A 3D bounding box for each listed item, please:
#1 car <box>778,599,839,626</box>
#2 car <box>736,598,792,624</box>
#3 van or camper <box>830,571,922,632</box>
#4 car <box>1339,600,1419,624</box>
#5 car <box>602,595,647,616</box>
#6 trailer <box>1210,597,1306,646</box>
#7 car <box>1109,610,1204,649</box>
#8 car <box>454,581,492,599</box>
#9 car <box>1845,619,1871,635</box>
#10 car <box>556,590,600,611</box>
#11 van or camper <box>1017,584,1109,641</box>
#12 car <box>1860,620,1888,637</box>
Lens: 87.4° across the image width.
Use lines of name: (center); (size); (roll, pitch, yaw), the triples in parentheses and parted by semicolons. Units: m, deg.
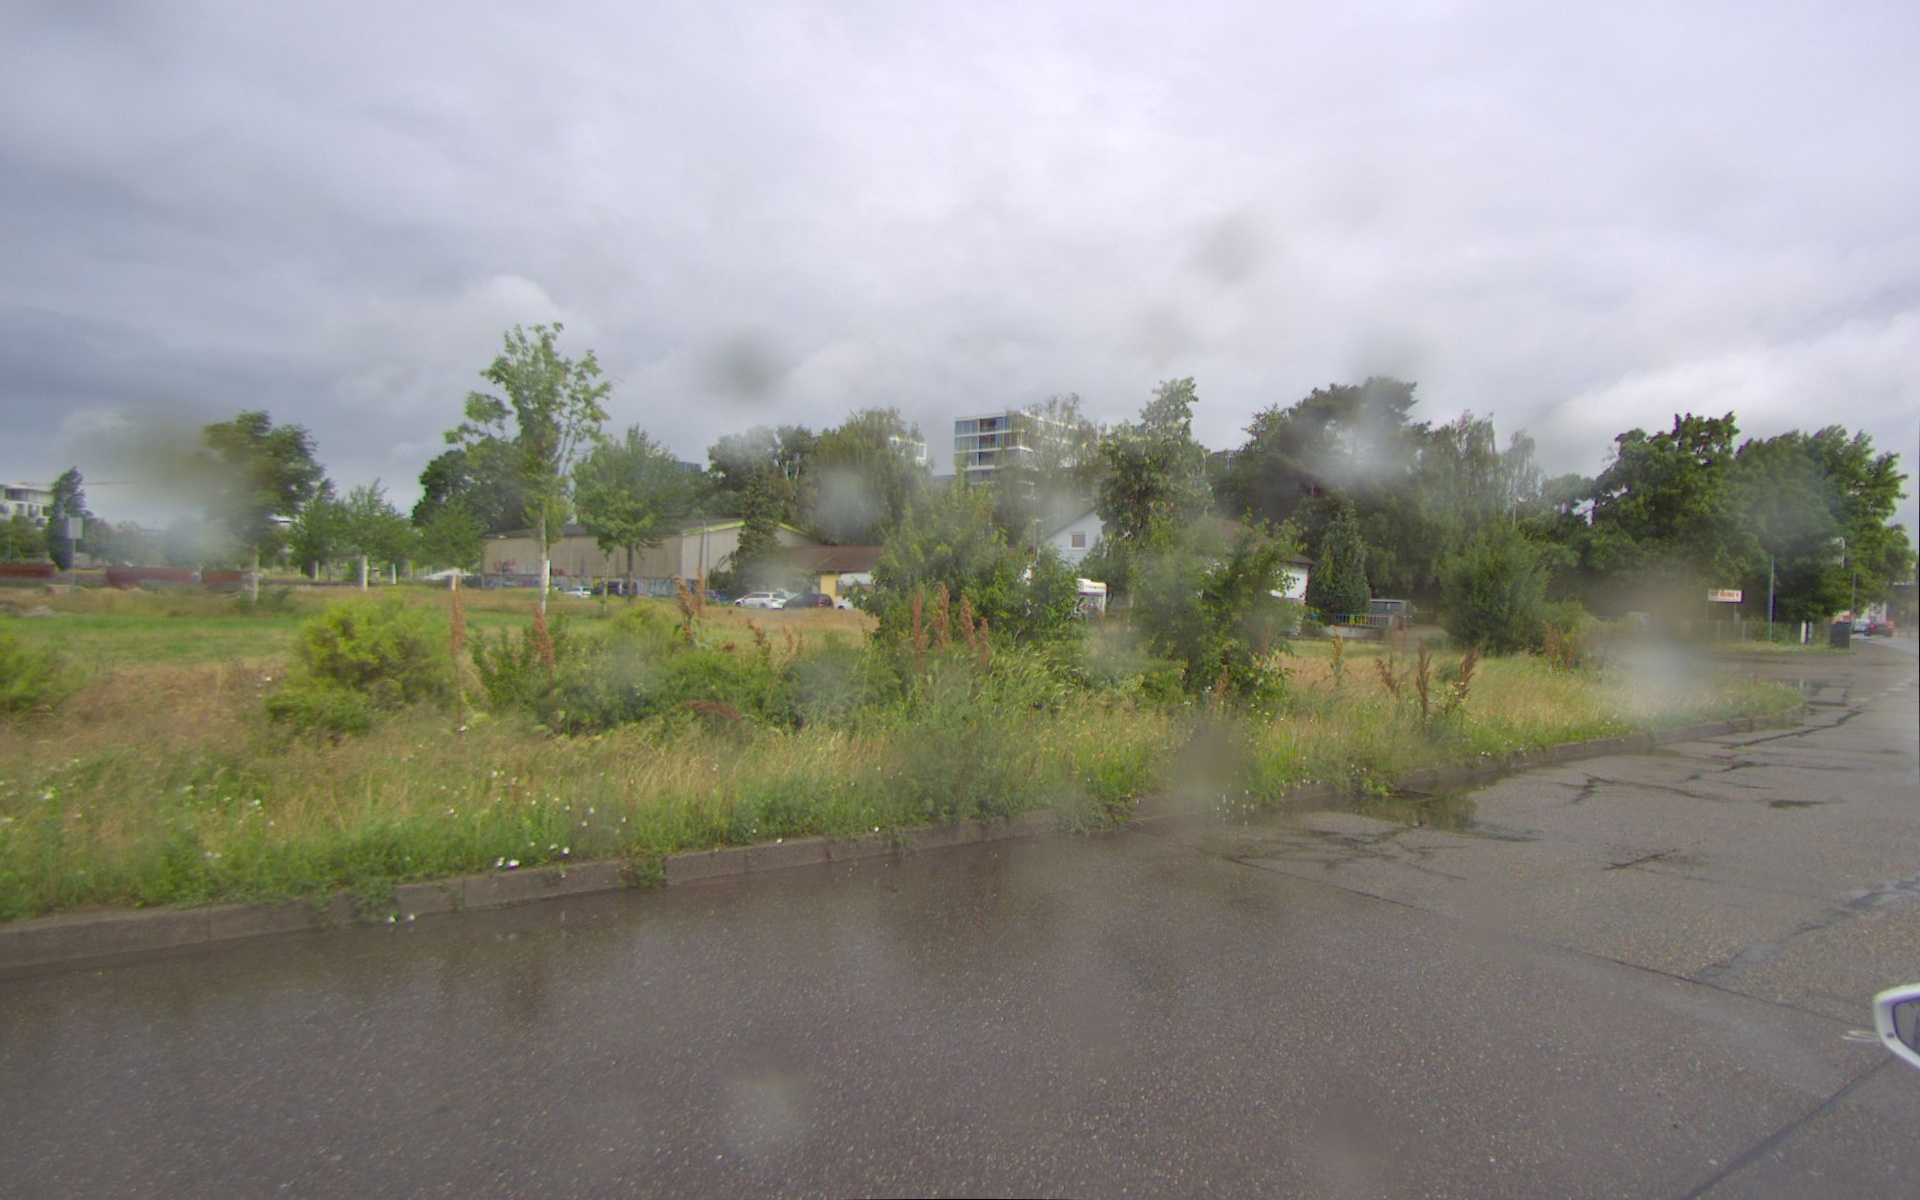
car: (-10.395, 0.839, 68.920); (3.938, 1.706, 1.991); (2, 0, 39)
car: (-14.101, 0.767, 72.124); (3.940, 1.726, 1.872); (2, 0, 41)
van or camper: (-5.527, 0.062, 65.261); (5.765, 3.794, 2.641); (2, 1, 41)
car: (27.771, 0.805, 66.622); (4.478, 1.437, 1.990); (1, 0, 42)
car: (-27.936, 0.431, 83.585); (3.936, 1.662, 1.644); (2, 0, 37)
trailer: (14.601, 1.001, 49.342); (4.050, 2.117, 1.837); (4, 2, 39)
car: (10.186, 1.479, 52.189); (4.453, 1.799, 1.990); (2, 0, 42)
car: (-48.204, -0.994, 99.379); (3.940, 1.729, 1.990); (2, 0, 41)
car: (106.165, 3.157, 118.773); (1.971, 1.725, 4.000); (2, 0, 37)
car: (-33.169, 0.032, 87.186); (3.940, 1.751, 1.990); (2, 0, 41)
van or camper: (5.755, 0.668, 56.222); (4.449, 2.985, 2.471); (2, 1, 41)
car: (97.509, 3.028, 107.158); (1.818, 1.663, 4.000); (2, 0, 37)
